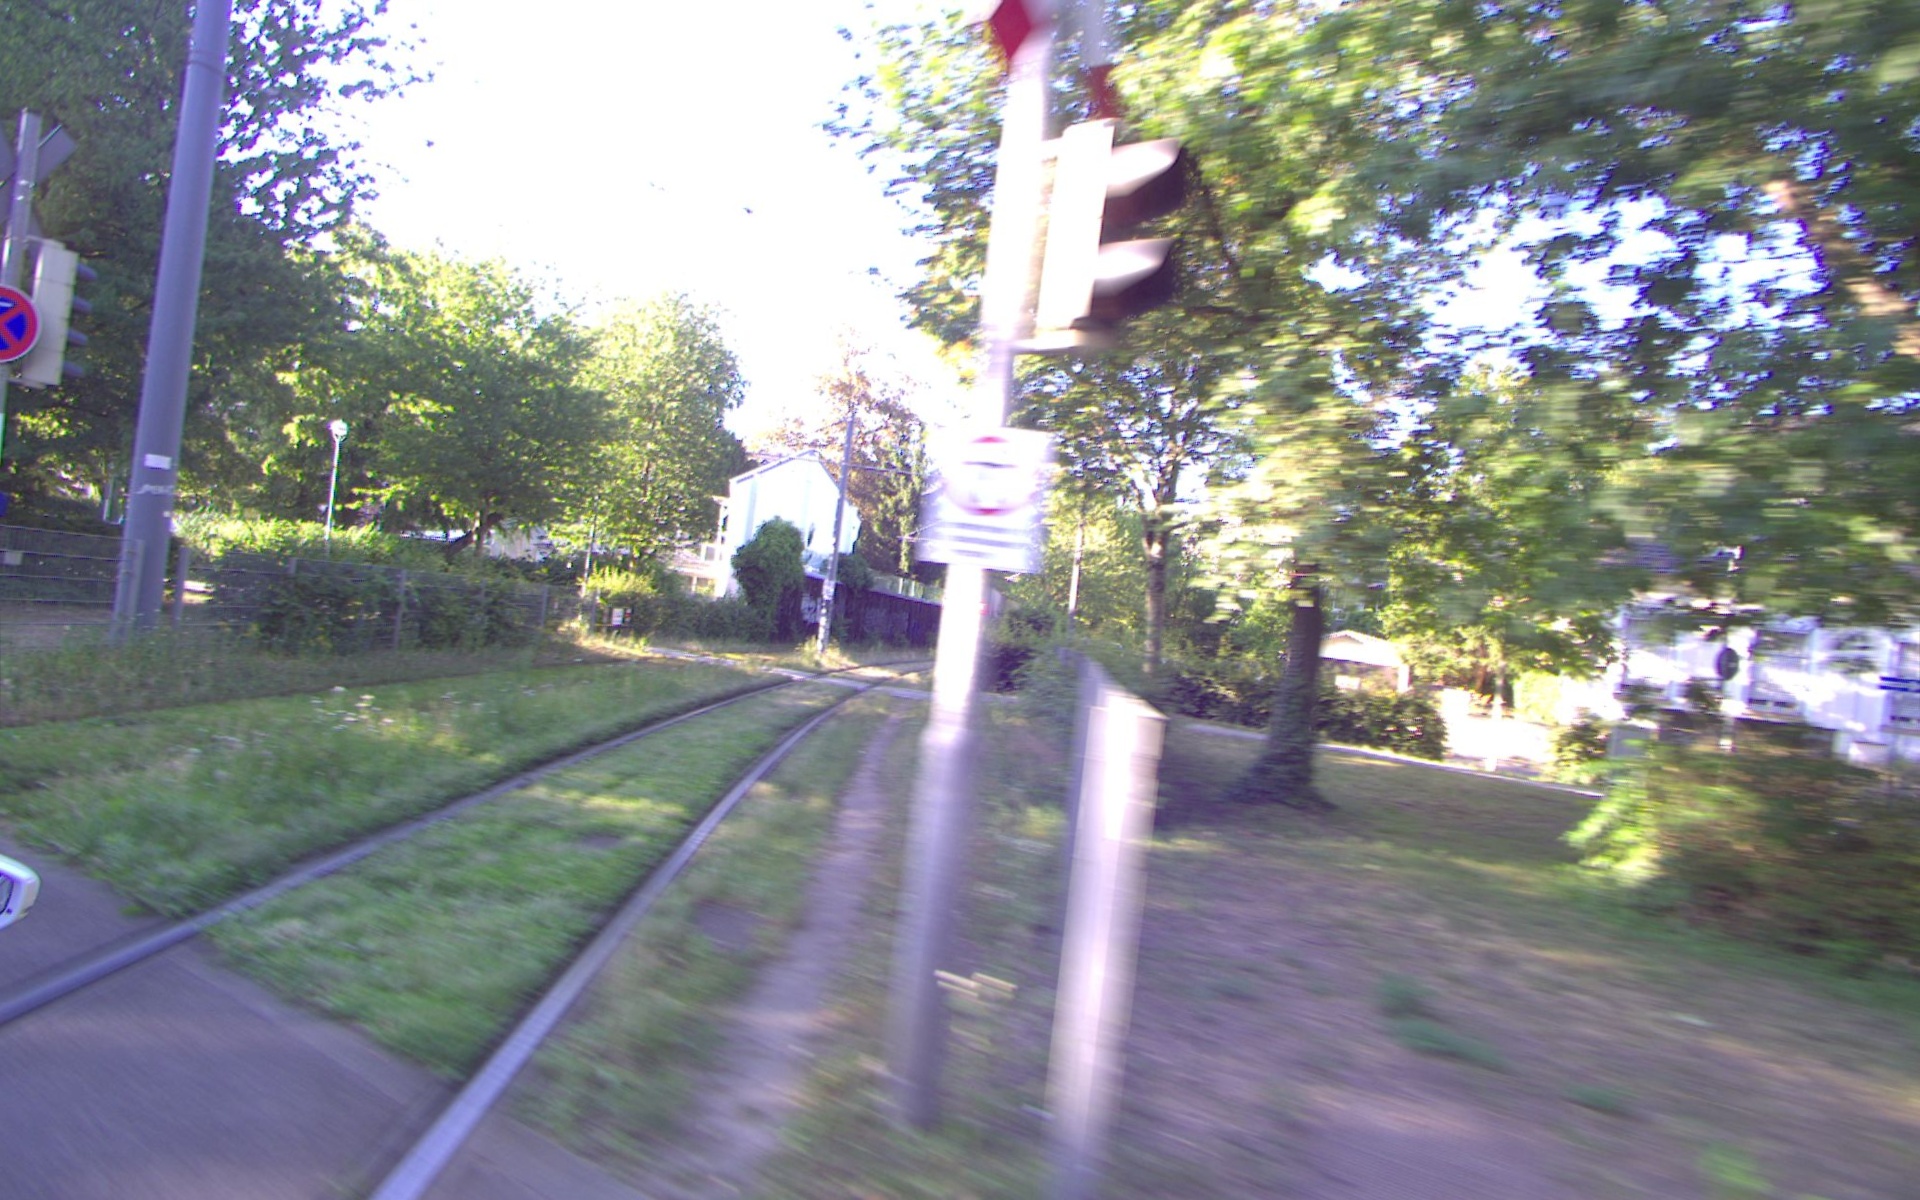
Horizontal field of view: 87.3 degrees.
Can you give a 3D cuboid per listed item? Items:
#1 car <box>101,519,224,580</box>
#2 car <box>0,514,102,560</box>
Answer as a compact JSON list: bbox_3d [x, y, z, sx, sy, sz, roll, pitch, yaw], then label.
[{"bbox_3d":[-33.565,-2.063,42.542,1.928,2.037,5.141,7,-2,-14],"label":"car"},{"bbox_3d":[-39.711,-2.710,43.839,1.669,1.422,3.968,9,-2,-12],"label":"car"}]
